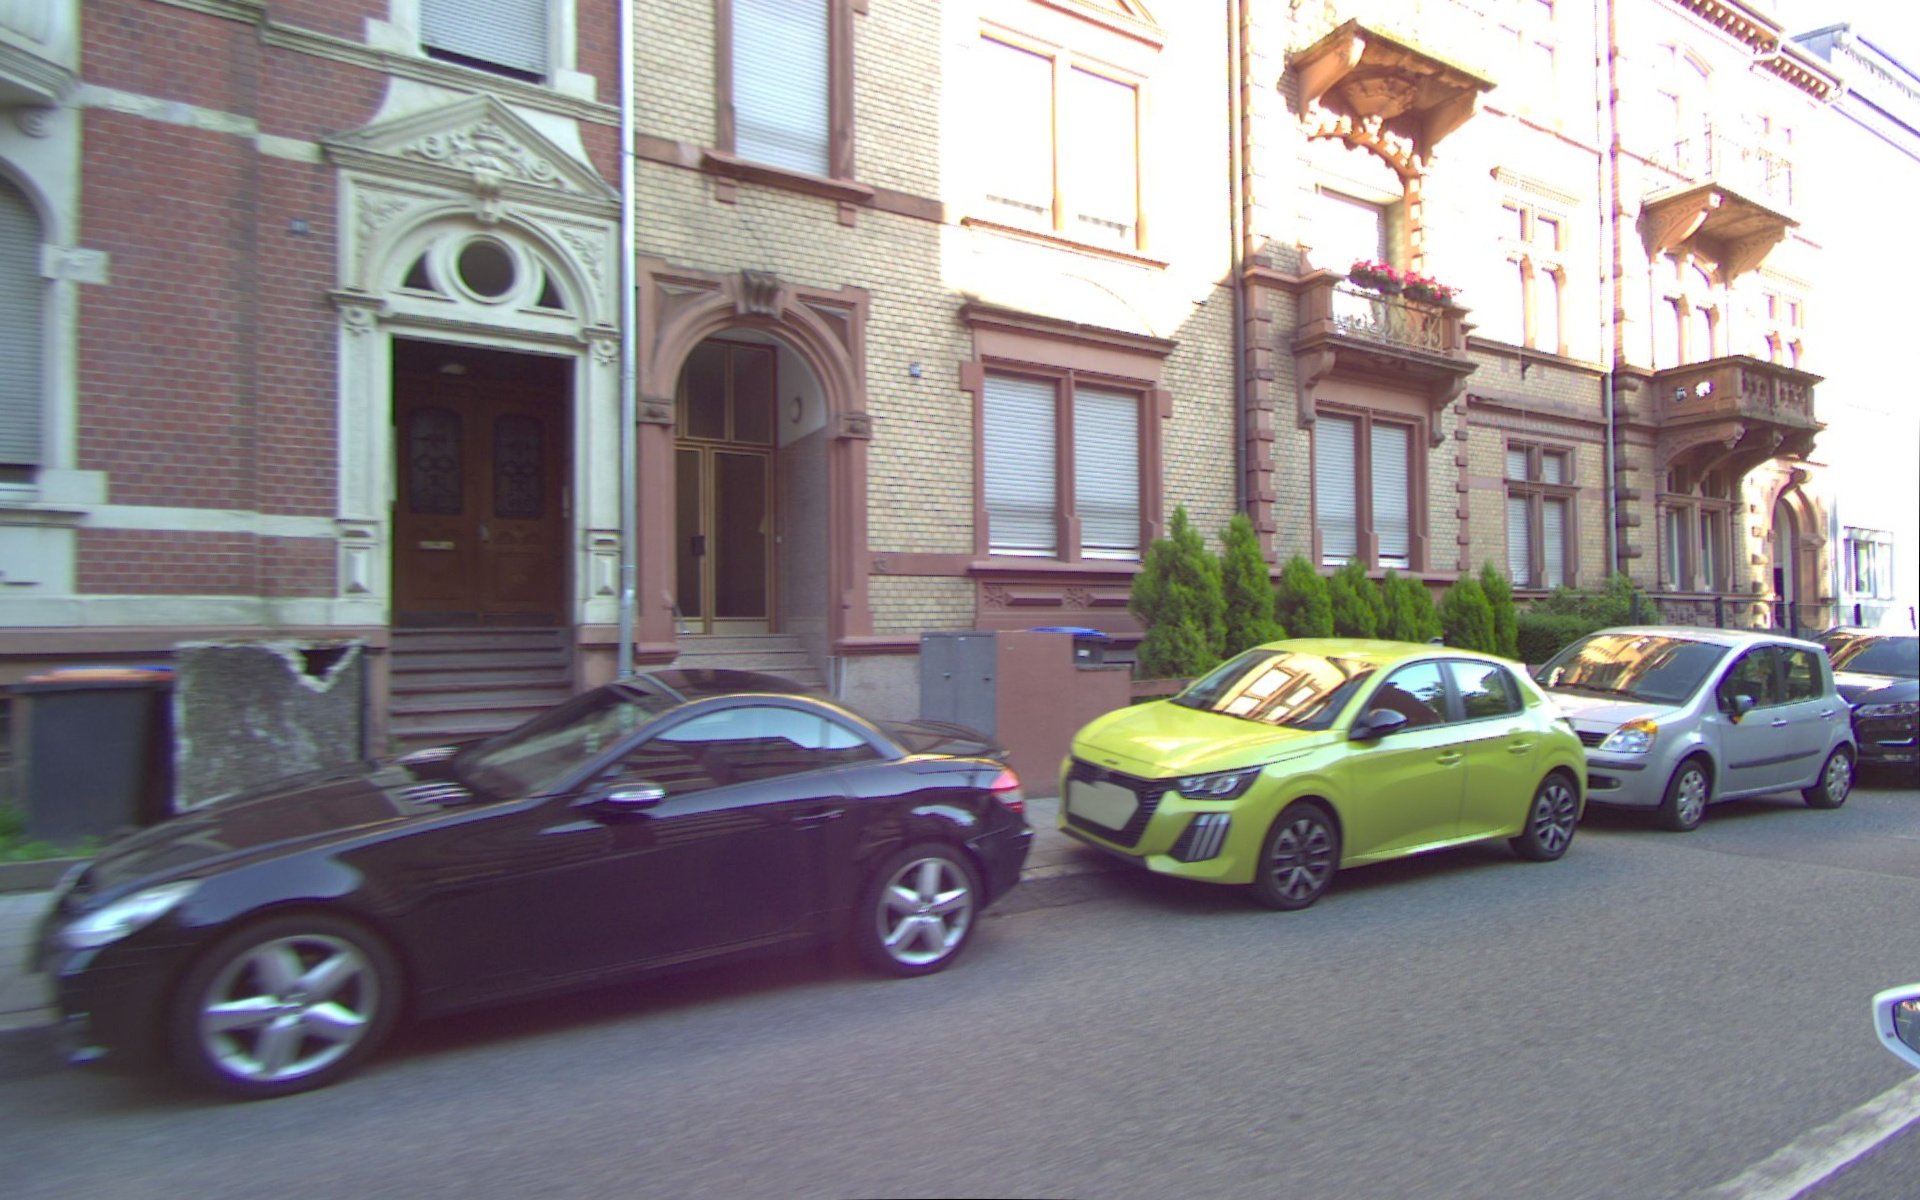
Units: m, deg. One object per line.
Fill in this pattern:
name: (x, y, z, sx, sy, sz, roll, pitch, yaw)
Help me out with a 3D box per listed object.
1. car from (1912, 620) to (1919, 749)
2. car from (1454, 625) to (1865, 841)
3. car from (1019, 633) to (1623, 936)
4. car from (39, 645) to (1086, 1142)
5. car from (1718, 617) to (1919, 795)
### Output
car: (15.080, 1.169, 14.007, 3.813, 1.761, 1.694, 1, -1, -31)
car: (6.428, 1.043, 9.189, 3.590, 1.605, 1.695, 1, -1, -29)
car: (2.562, 1.049, 6.906, 4.024, 1.522, 1.695, 2, -2, -29)
car: (-1.457, 0.943, 4.657, 3.813, 1.385, 1.695, 1, -1, -29)
car: (10.851, 1.083, 11.658, 4.386, 1.730, 1.695, 1, -1, -29)
